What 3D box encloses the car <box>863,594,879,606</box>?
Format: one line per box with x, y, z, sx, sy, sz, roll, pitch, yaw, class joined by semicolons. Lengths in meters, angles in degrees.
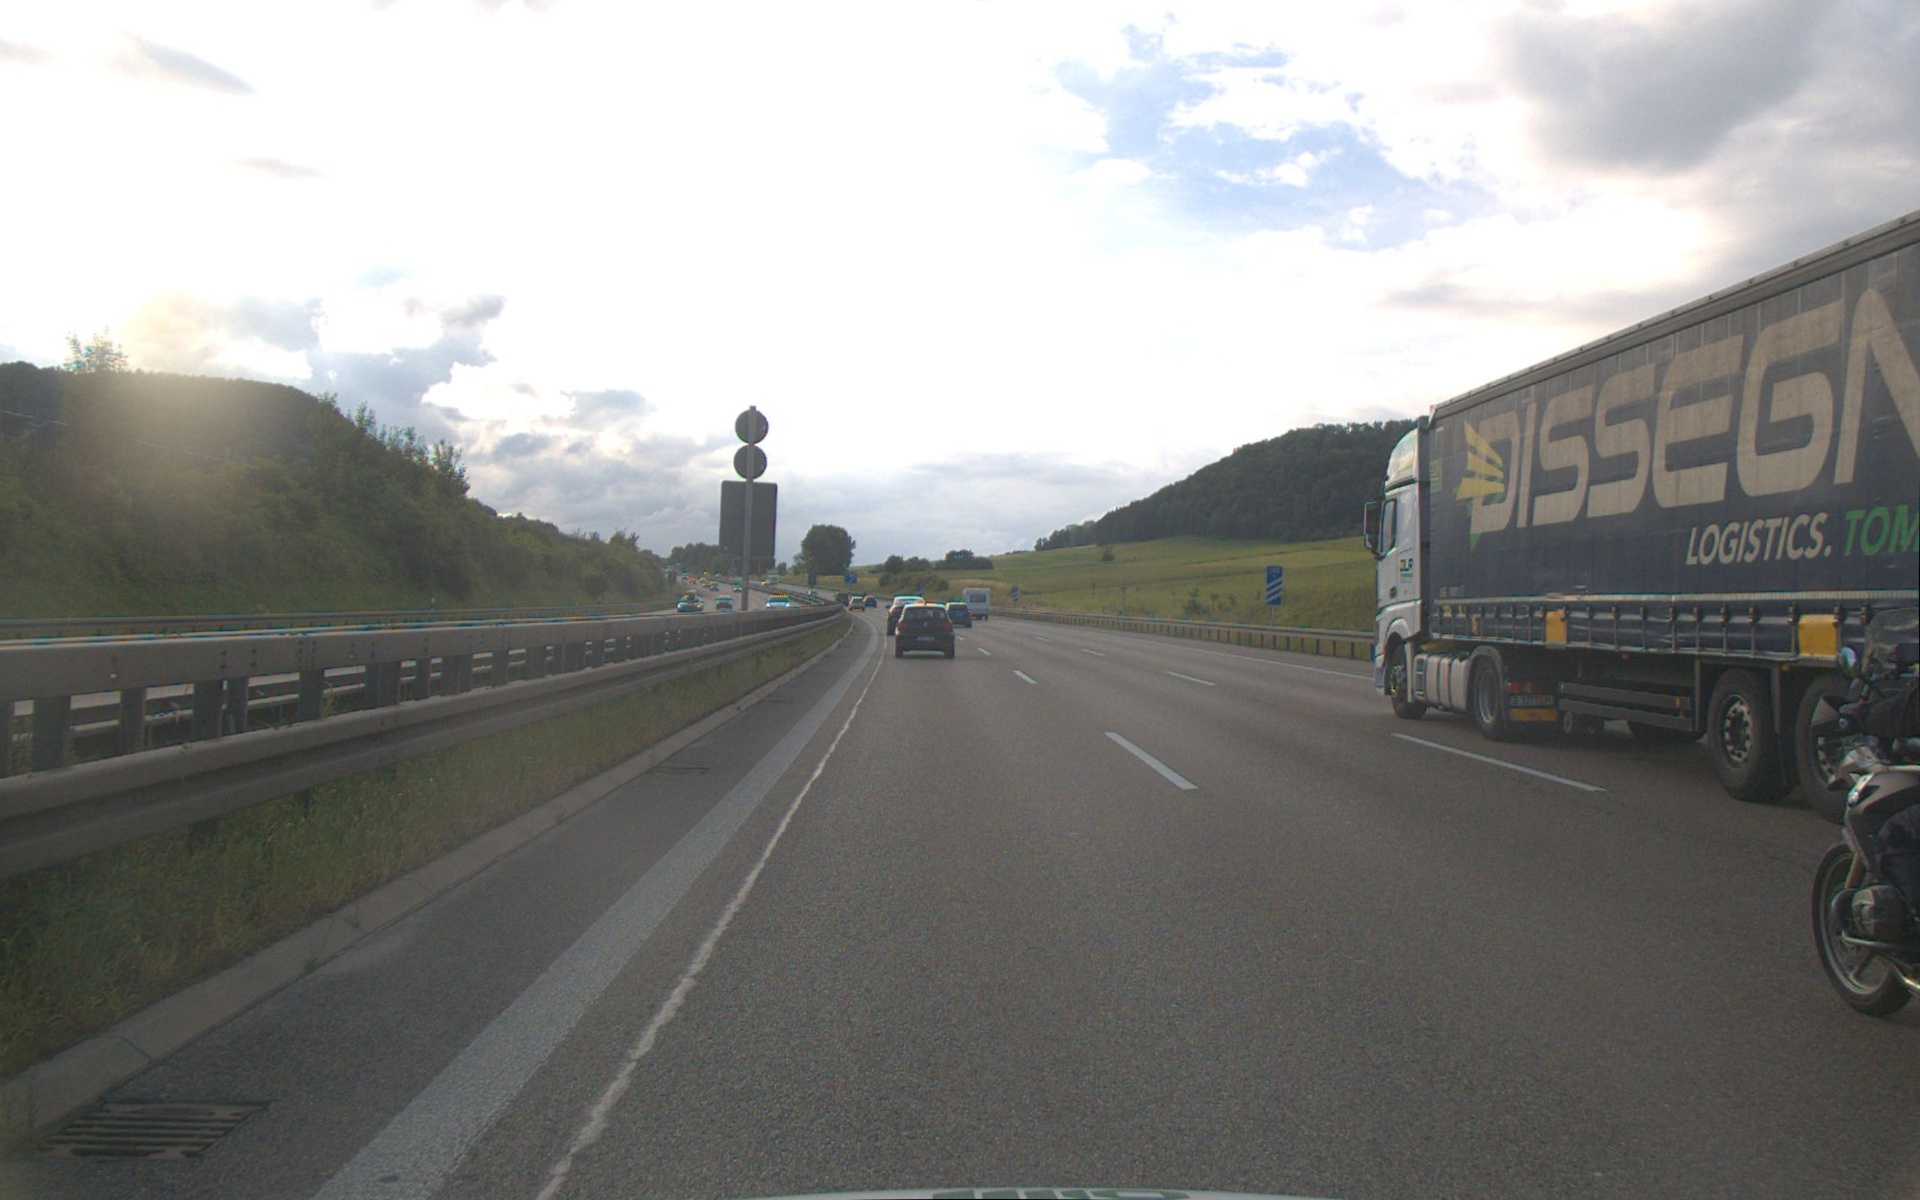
-11.977;0.016;222.212;1.917;1.601;4.000;1;0;0;car

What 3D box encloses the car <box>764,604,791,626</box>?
-14.057;1.167;127.707;1.796;1.619;5.016;1;0;-3;car

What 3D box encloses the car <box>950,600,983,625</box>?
0.373;0.716;98.345;1.731;1.458;3.998;1;0;-3;car

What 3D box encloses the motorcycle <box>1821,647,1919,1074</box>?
3.419;0.855;5.111;0.614;1.362;1.739;0;0;0;motorcycle

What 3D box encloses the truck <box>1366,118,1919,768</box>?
7.368;-0.972;14.577;2.904;4.062;17.728;0;0;-1;truck

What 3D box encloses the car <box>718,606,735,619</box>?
-25.876;1.376;183.260;1.673;1.440;3.996;1;0;-5;car

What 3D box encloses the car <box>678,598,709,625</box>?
-20.897;0.879;129.988;1.923;2.076;5.016;0;0;-4;car

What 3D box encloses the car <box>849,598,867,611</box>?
-11.607;0.468;188.864;1.734;1.458;3.993;1;0;-8;car

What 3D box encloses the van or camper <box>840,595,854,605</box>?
-15.659;0.002;229.274;1.927;1.458;3.998;1;0;-3;van or camper

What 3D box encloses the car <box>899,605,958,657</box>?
-0.851;0.839;46.208;1.506;1.371;3.677;0;0;1;car

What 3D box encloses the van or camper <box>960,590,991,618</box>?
1.257;0.306;136.610;2.495;2.278;5.329;0;0;1;van or camper
